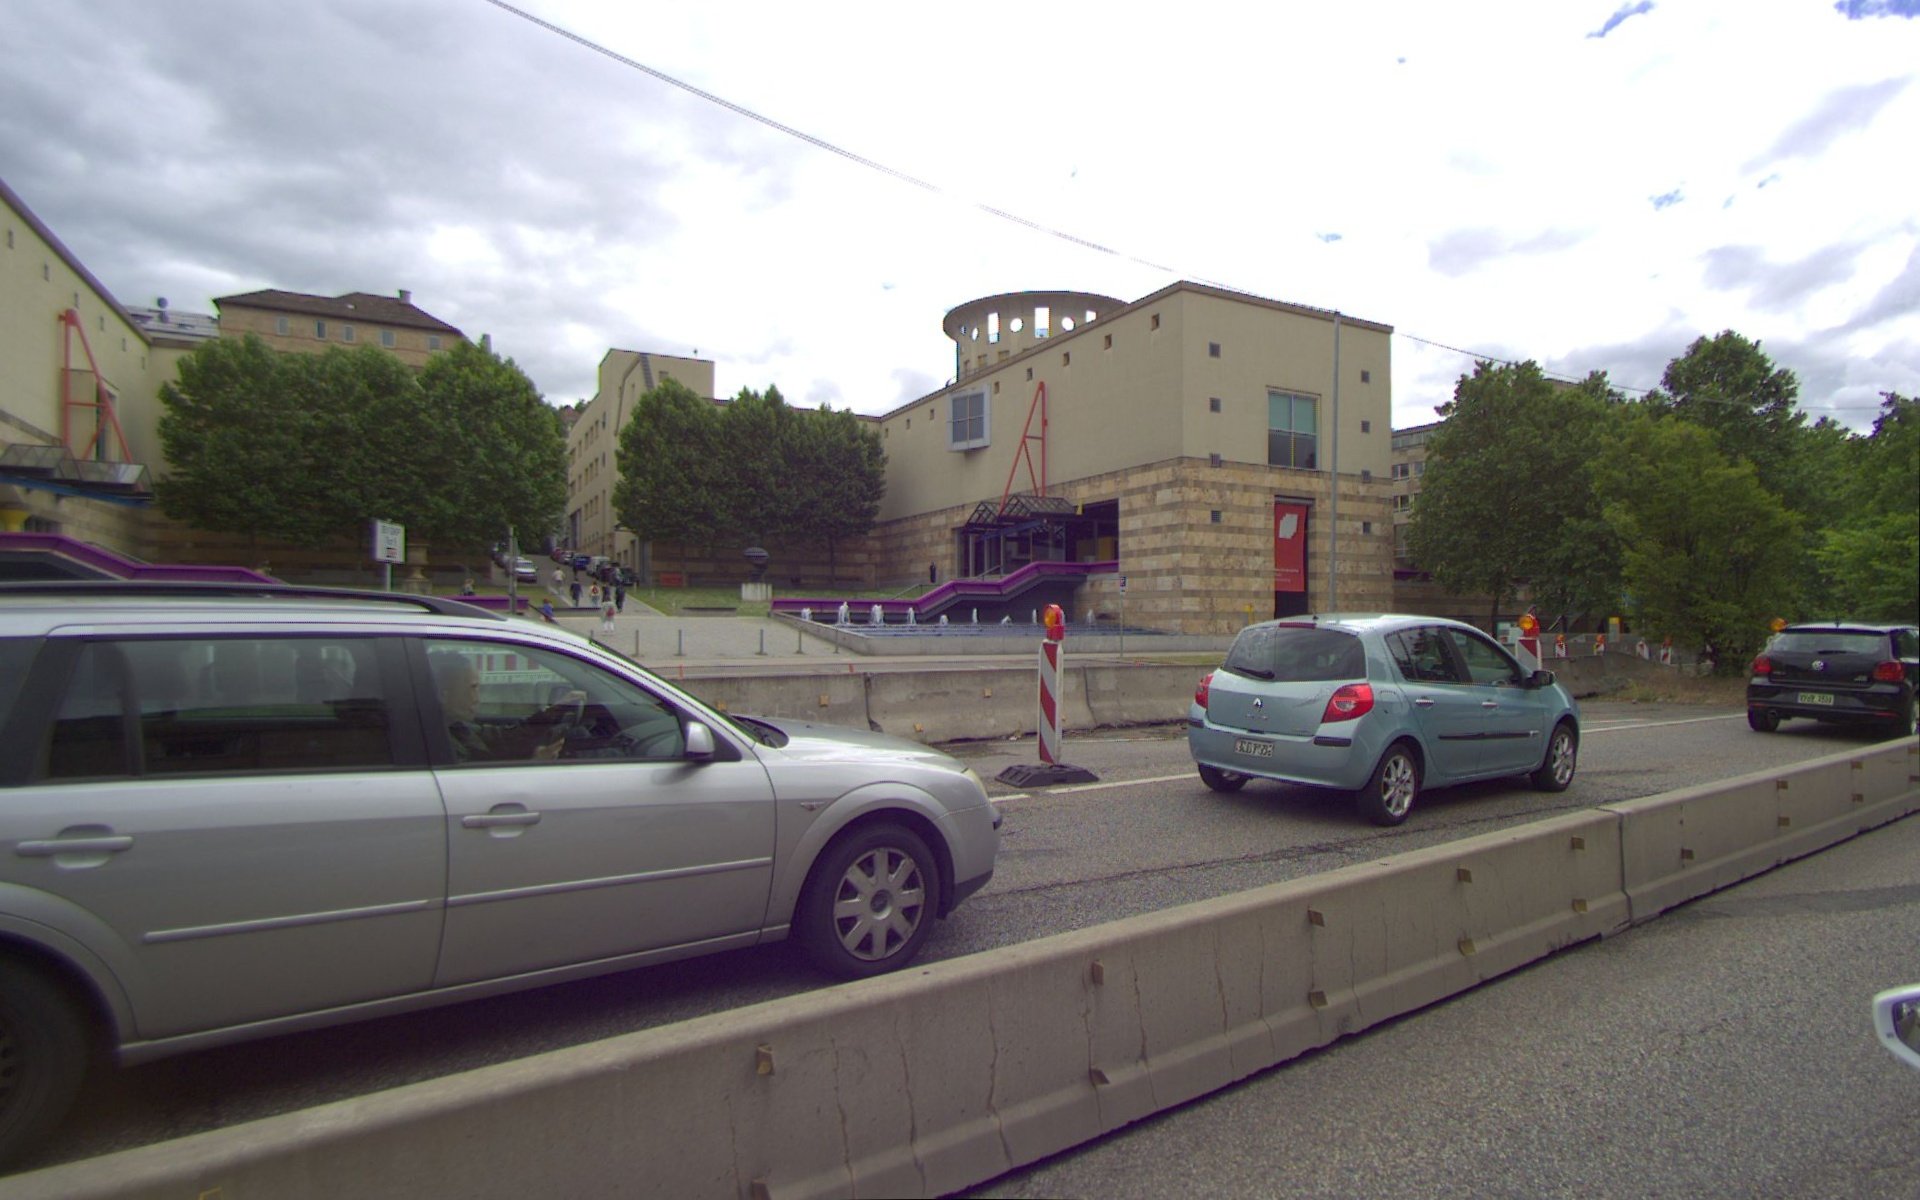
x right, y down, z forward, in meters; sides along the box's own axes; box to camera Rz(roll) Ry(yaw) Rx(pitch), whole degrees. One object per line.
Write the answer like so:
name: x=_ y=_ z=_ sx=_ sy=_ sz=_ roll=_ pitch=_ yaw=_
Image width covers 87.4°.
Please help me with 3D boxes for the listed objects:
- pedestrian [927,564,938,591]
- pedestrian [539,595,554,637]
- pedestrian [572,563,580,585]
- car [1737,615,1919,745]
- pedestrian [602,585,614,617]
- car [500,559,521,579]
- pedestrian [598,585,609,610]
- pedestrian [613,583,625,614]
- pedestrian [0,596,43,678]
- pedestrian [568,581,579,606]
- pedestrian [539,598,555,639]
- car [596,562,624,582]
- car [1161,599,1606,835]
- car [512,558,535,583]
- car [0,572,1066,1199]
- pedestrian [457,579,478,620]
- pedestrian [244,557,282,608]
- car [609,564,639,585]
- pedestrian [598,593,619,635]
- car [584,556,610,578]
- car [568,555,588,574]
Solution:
pedestrian: x=-2.084 y=-1.717 z=76.186 sx=0.593 sy=2.040 sz=0.409 roll=1 pitch=1 yaw=-29
pedestrian: x=-17.264 y=0.675 z=41.908 sx=0.520 sy=1.717 sz=0.340 roll=1 pitch=0 yaw=-29
pedestrian: x=-32.187 y=-2.177 z=84.173 sx=0.535 sy=1.808 sz=0.464 roll=2 pitch=-1 yaw=-26
car: x=12.166 y=0.979 z=13.488 sx=4.157 sy=1.473 sz=1.648 roll=1 pitch=0 yaw=-36
pedestrian: x=-19.580 y=0.044 z=55.916 sx=0.472 sy=1.772 sz=0.642 roll=1 pitch=0 yaw=-30
car: x=-42.492 y=-2.887 z=94.960 sx=1.590 sy=1.822 sz=3.781 roll=1 pitch=0 yaw=-27
pedestrian: x=-20.325 y=-0.130 z=57.235 sx=0.472 sy=1.441 sz=0.402 roll=1 pitch=0 yaw=-30
pedestrian: x=-19.210 y=-0.090 z=56.544 sx=0.472 sy=1.772 sz=0.642 roll=1 pitch=0 yaw=-30
pedestrian: x=-24.104 y=0.930 z=25.652 sx=0.805 sy=2.040 sz=0.841 roll=1 pitch=1 yaw=-29
pedestrian: x=-22.080 y=-0.369 z=57.376 sx=0.472 sy=1.441 sz=0.402 roll=1 pitch=0 yaw=-30
pedestrian: x=-17.607 y=0.773 z=42.857 sx=0.520 sy=1.717 sz=0.693 roll=1 pitch=0 yaw=-29
car: x=-29.015 y=-2.285 z=83.239 sx=1.591 sy=1.557 sz=3.778 roll=2 pitch=1 yaw=-29
car: x=3.609 y=0.798 z=8.335 sx=3.817 sy=1.527 sz=1.661 roll=1 pitch=0 yaw=-36
car: x=-34.556 y=-2.304 z=79.490 sx=1.589 sy=1.822 sz=3.783 roll=1 pitch=0 yaw=-25
car: x=-1.942 y=0.701 z=3.828 sx=4.661 sy=1.501 sz=1.864 roll=1 pitch=0 yaw=-37
pedestrian: x=-22.795 y=-0.024 z=46.471 sx=0.794 sy=1.877 sz=0.689 roll=1 pitch=1 yaw=-28
pedestrian: x=-28.749 y=-0.713 z=41.444 sx=1.078 sy=2.040 sz=0.915 roll=2 pitch=1 yaw=-25
car: x=-25.968 y=-1.953 z=77.576 sx=1.591 sy=1.557 sz=3.778 roll=2 pitch=1 yaw=-29
pedestrian: x=-14.408 y=0.575 z=41.118 sx=0.691 sy=1.717 sz=0.522 roll=1 pitch=0 yaw=-32
car: x=-32.236 y=-2.924 z=89.226 sx=1.591 sy=1.822 sz=3.778 roll=2 pitch=1 yaw=-29
car: x=-38.523 y=-3.523 z=101.332 sx=1.589 sy=1.822 sz=3.783 roll=2 pitch=1 yaw=-25
